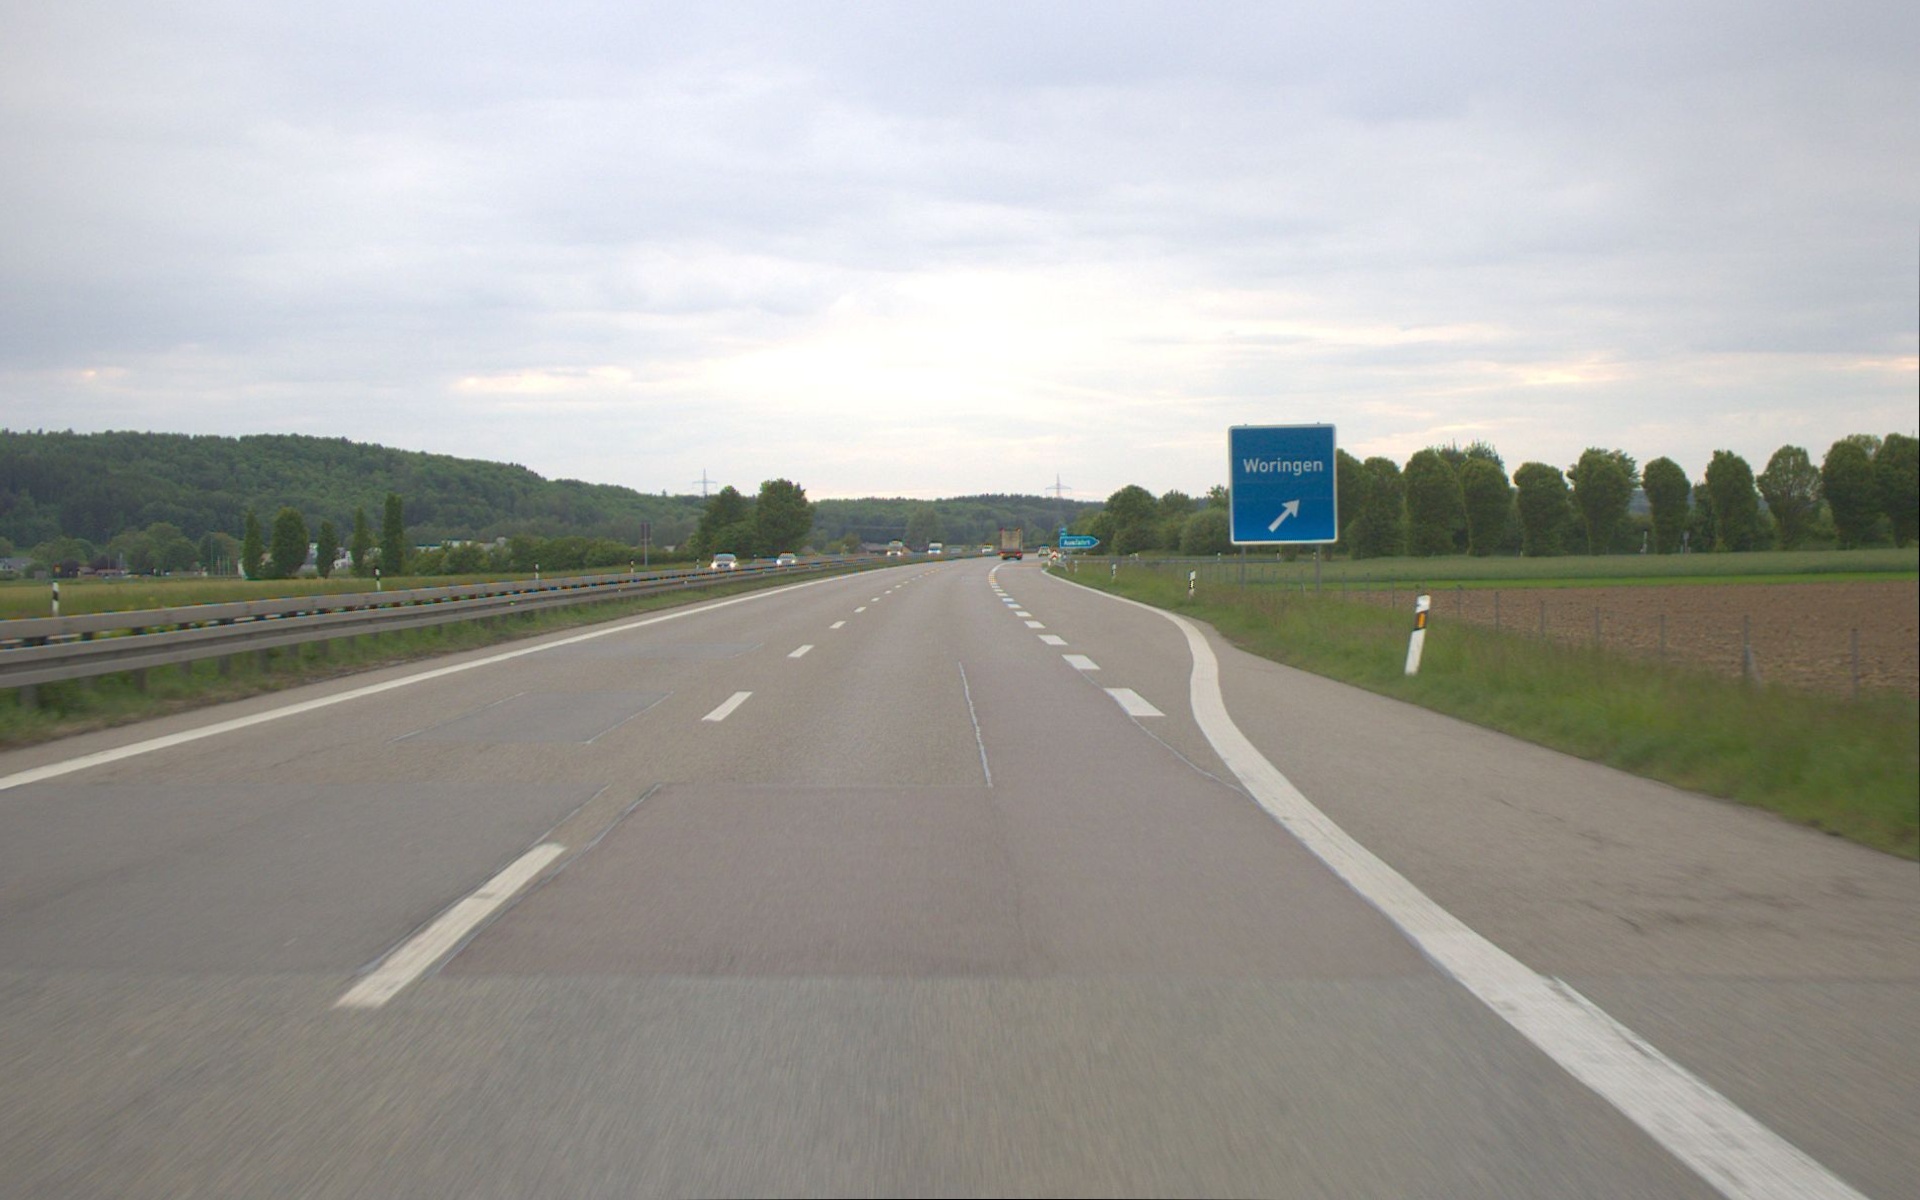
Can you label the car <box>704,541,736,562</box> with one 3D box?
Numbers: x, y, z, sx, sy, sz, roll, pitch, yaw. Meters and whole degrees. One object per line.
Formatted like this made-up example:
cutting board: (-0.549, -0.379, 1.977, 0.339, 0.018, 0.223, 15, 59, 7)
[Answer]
car: (-17.344, -3.514, 248.276, 1.993, 1.475, 4.452, 1, 1, 0)
